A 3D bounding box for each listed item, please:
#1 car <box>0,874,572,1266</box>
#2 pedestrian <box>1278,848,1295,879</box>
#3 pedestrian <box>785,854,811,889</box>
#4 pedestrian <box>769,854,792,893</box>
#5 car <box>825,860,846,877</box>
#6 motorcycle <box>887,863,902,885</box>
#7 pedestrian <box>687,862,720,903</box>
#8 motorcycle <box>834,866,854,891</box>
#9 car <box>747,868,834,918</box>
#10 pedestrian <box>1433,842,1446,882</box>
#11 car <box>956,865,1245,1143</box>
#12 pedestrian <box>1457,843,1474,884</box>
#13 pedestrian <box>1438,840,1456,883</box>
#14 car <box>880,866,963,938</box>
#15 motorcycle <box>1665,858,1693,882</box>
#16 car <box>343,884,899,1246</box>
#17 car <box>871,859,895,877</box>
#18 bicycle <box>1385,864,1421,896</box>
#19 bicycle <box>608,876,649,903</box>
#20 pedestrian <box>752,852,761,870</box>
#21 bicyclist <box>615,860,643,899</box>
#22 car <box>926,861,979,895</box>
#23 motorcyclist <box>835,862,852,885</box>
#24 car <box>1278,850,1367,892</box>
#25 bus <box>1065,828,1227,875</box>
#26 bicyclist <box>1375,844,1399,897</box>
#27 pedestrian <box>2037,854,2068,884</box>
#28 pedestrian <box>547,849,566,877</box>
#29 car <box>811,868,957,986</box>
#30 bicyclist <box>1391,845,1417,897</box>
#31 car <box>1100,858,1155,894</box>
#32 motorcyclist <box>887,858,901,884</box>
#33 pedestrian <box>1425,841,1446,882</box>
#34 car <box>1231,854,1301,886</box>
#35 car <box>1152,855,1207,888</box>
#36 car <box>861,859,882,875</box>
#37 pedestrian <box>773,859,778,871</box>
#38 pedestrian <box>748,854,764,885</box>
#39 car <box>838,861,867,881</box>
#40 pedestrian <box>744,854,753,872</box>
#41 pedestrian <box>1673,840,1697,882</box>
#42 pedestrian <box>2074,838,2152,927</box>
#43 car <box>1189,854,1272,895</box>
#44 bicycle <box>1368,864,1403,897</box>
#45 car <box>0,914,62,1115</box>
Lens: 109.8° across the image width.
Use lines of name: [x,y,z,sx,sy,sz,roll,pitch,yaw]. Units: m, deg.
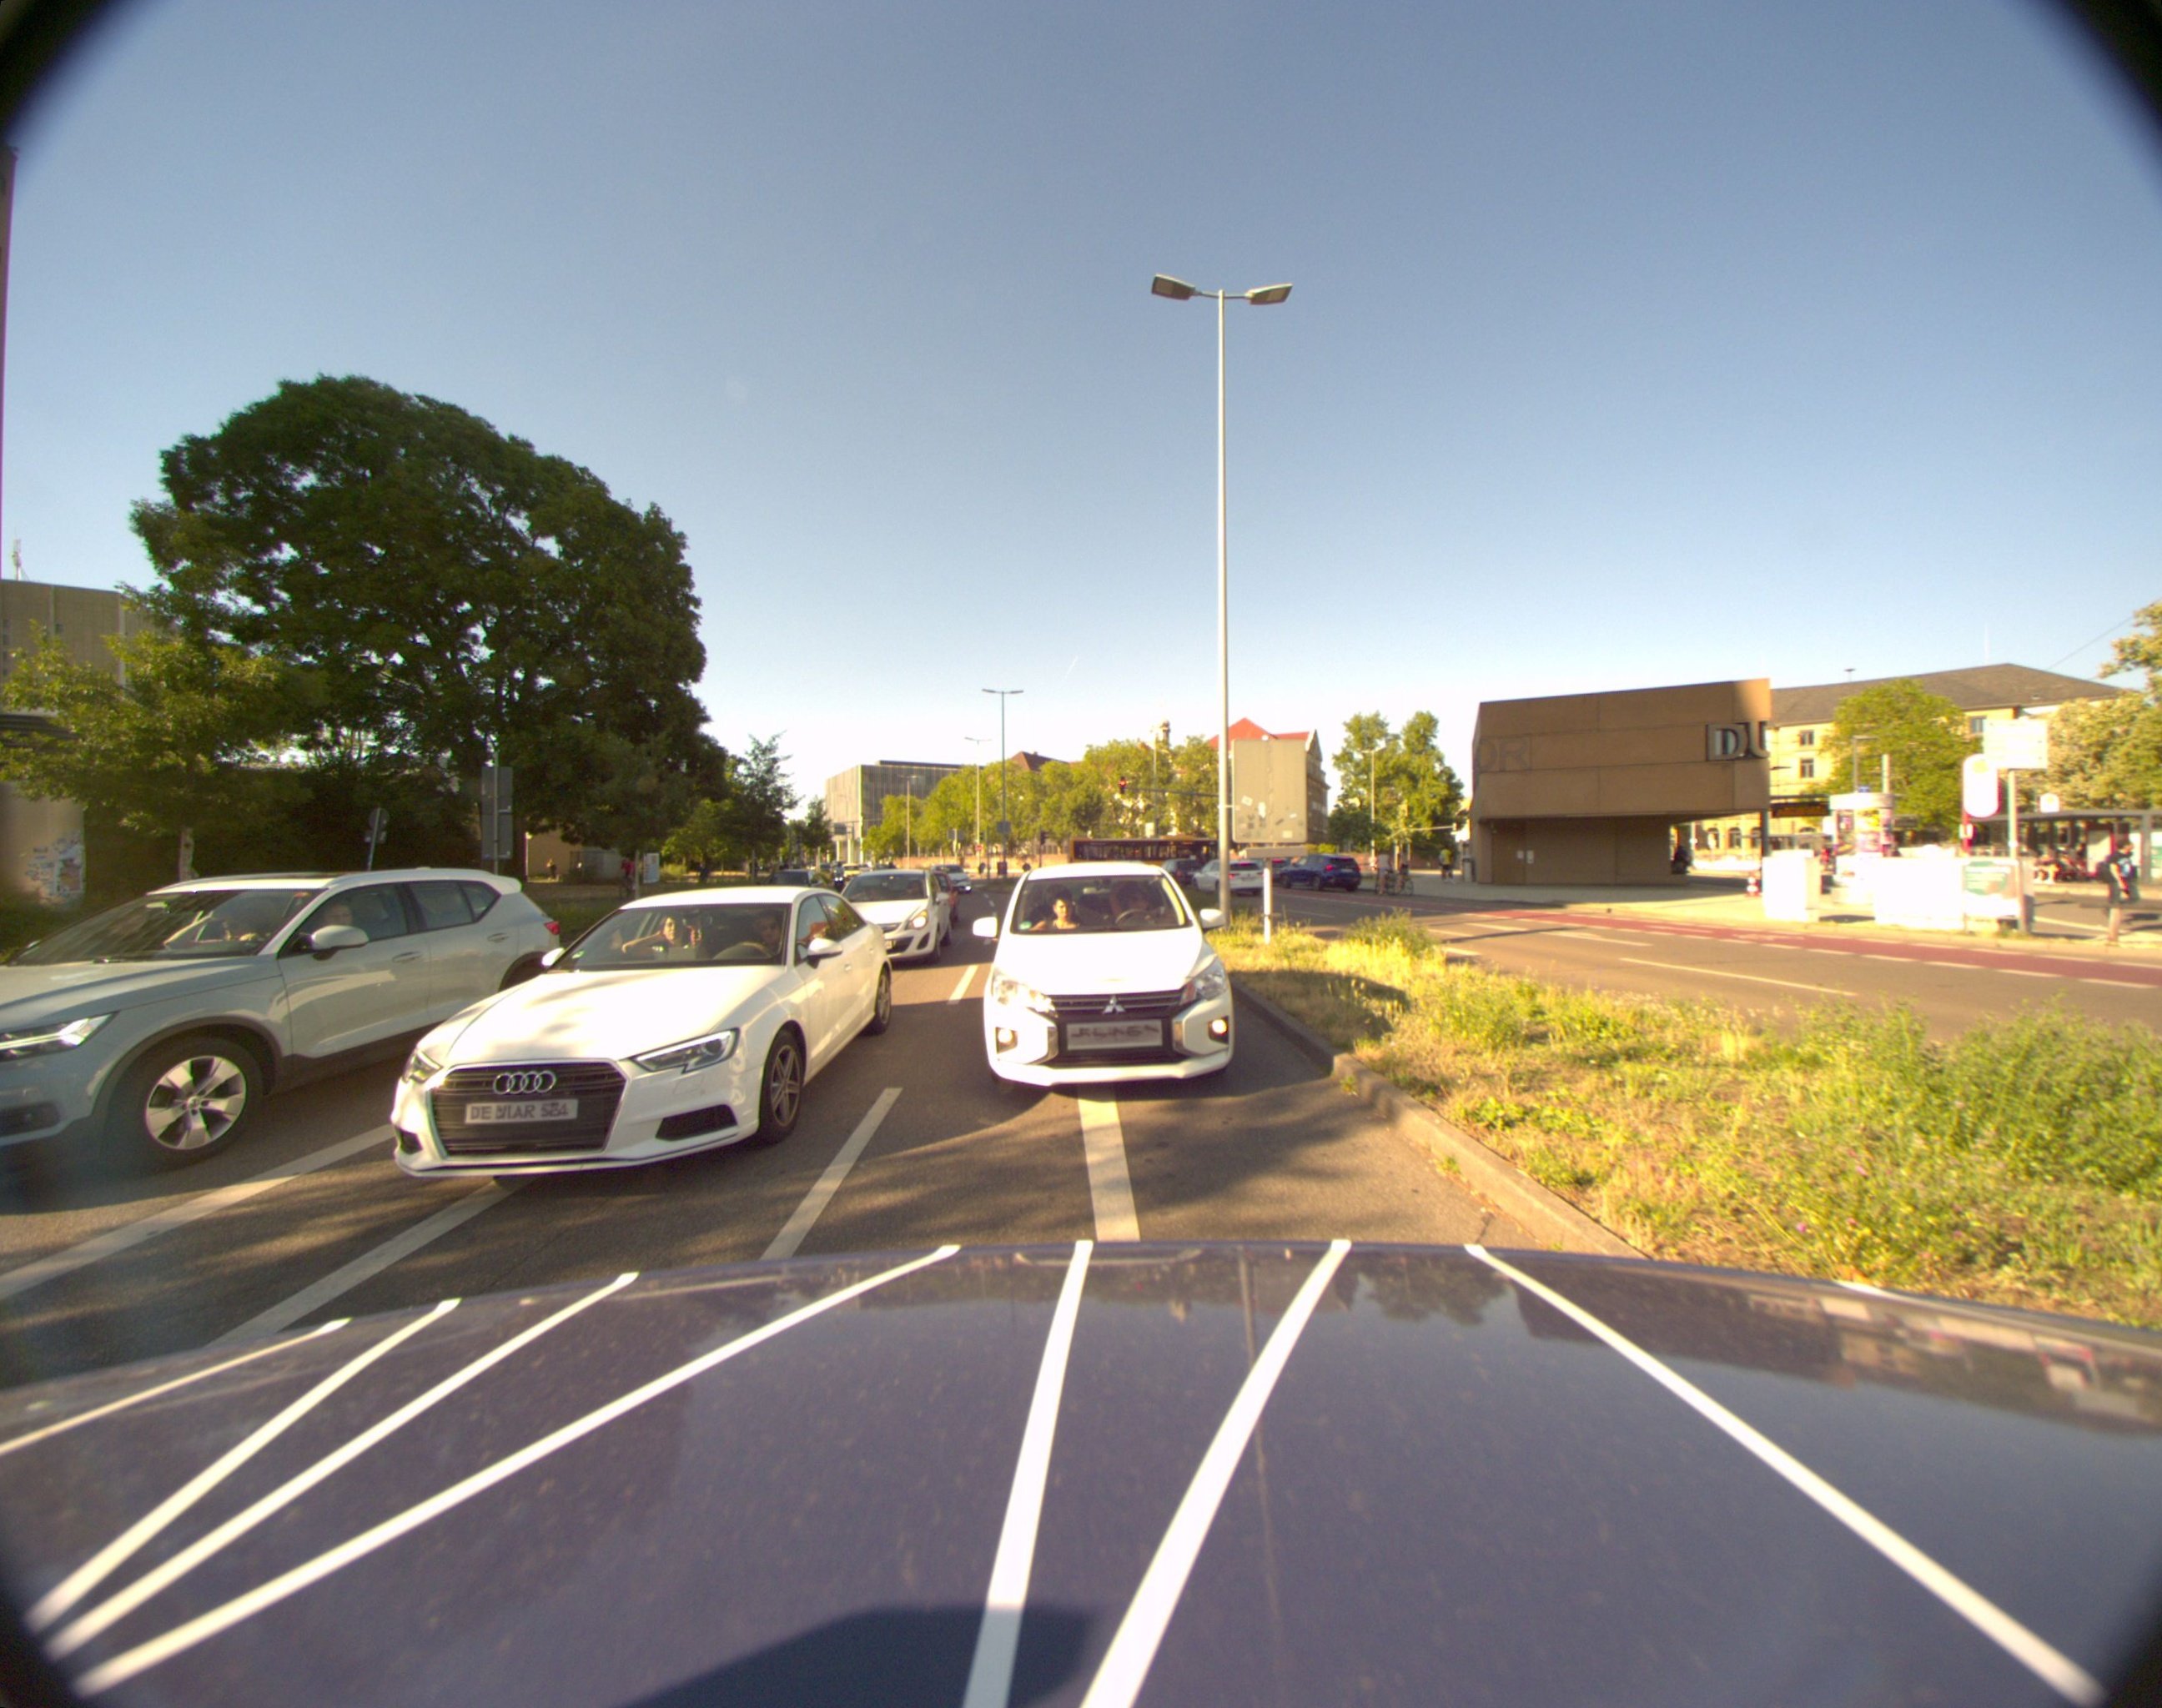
car: [-5.743,1.055,5.253,1.628,1.611,4.223,-2,1,-2]
pedestrian: [12.824,0.592,47.470,0.797,1.886,0.612,0,1,40]
pedestrian: [-16.777,1.018,45.117,1.143,2.002,1.285,-2,1,-10]
pedestrian: [-15.944,1.039,40.349,0.895,2.002,0.881,-2,1,-10]
car: [-24.706,1.417,76.363,1.748,1.696,3.993,-1,0,-21]
motorcycle: [-11.591,1.227,47.293,0.718,1.297,2.233,-2,1,-9]
pedestrian: [-16.670,1.245,33.557,1.010,1.711,0.884,-2,1,-10]
motorcycle: [-13.407,1.376,43.026,0.718,1.297,2.233,-2,1,-9]
car: [-10.147,1.297,26.870,1.756,1.451,4.186,-2,1,-5]
pedestrian: [18.251,0.402,38.671,0.467,2.002,0.657,-2,1,17]
car: [0.063,0.895,6.428,1.628,1.451,4.040,-2,1,-2]
pedestrian: [19.078,0.457,37.698,0.655,2.002,0.469,-2,1,20]
pedestrian: [16.978,0.348,35.259,0.655,2.002,0.469,-2,1,20]
car: [-3.888,1.100,19.092,1.628,1.451,4.039,-2,1,-7]
motorcycle: [26.190,0.708,33.266,0.948,1.061,0.331,-1,1,39]
car: [-2.546,1.038,5.385,1.628,1.396,3.832,-2,1,-2]
car: [-18.019,1.284,69.011,1.748,1.536,3.993,-1,0,-20]
bicycle: [12.476,0.984,29.503,0.464,1.185,1.395,-3,1,-17]
bicycle: [-18.372,1.412,30.879,0.660,0.958,2.033,0,1,-7]
pedestrian: [-27.984,0.606,65.543,0.548,1.597,0.603,-3,1,-19]
bicyclist: [-18.393,1.018,30.942,0.617,1.551,0.870,-2,1,-8]
car: [-6.323,1.119,36.978,1.758,1.451,4.181,-3,1,-20]
motorcyclist: [-13.416,1.095,42.952,0.718,1.297,0.735,-2,1,-4]
car: [10.440,0.701,33.227,1.757,1.680,4.183,-1,0,-14]
bus: [5.125,-0.230,60.894,12.540,3.193,3.085,-2,1,-5]
bicyclist: [11.774,0.627,29.242,0.611,2.002,0.565,-1,1,-15]
pedestrian: [39.023,0.611,30.535,0.539,1.180,0.659,-2,1,29]
pedestrian: [-37.914,0.647,54.925,0.929,2.002,0.754,-3,1,-27]
car: [-3.066,1.051,12.574,1.628,1.451,4.039,-2,1,-5]
bicyclist: [12.489,0.645,29.382,0.611,2.002,0.708,-1,1,-15]
car: [2.107,0.993,35.846,1.756,1.451,4.185,-2,1,-8]
motorcyclist: [-11.580,1.039,47.136,0.711,1.581,0.689,-2,1,-9]
pedestrian: [17.515,0.374,37.561,0.777,2.002,0.773,-2,1,13]
car: [9.424,0.792,39.059,1.850,1.483,4.388,1,0,-10]
car: [4.789,0.816,37.379,1.756,1.451,4.186,-2,1,-5]
car: [-23.115,1.456,83.773,1.748,1.696,3.993,-1,0,-21]
pedestrian: [-43.411,1.570,108.026,0.399,1.676,0.483,-1,1,1]
pedestrian: [-17.243,0.806,40.307,0.596,1.585,0.594,-2,1,-8]
car: [-18.463,1.364,61.445,1.746,1.516,3.996,-1,0,-9]
pedestrian: [-28.557,0.759,65.234,0.548,1.521,0.603,-3,1,-19]
pedestrian: [29.407,0.323,36.971,0.780,2.002,0.771,-3,2,-42]
pedestrian: [20.837,0.572,15.355,0.713,1.748,0.583,-2,1,20]
car: [6.032,0.776,31.270,1.850,1.483,4.388,-2,1,-10]
bicycle: [11.741,1.014,29.334,0.464,1.185,1.395,-3,1,-17]
car: [-8.751,1.243,3.878,1.628,1.451,4.040,-2,1,-2]
